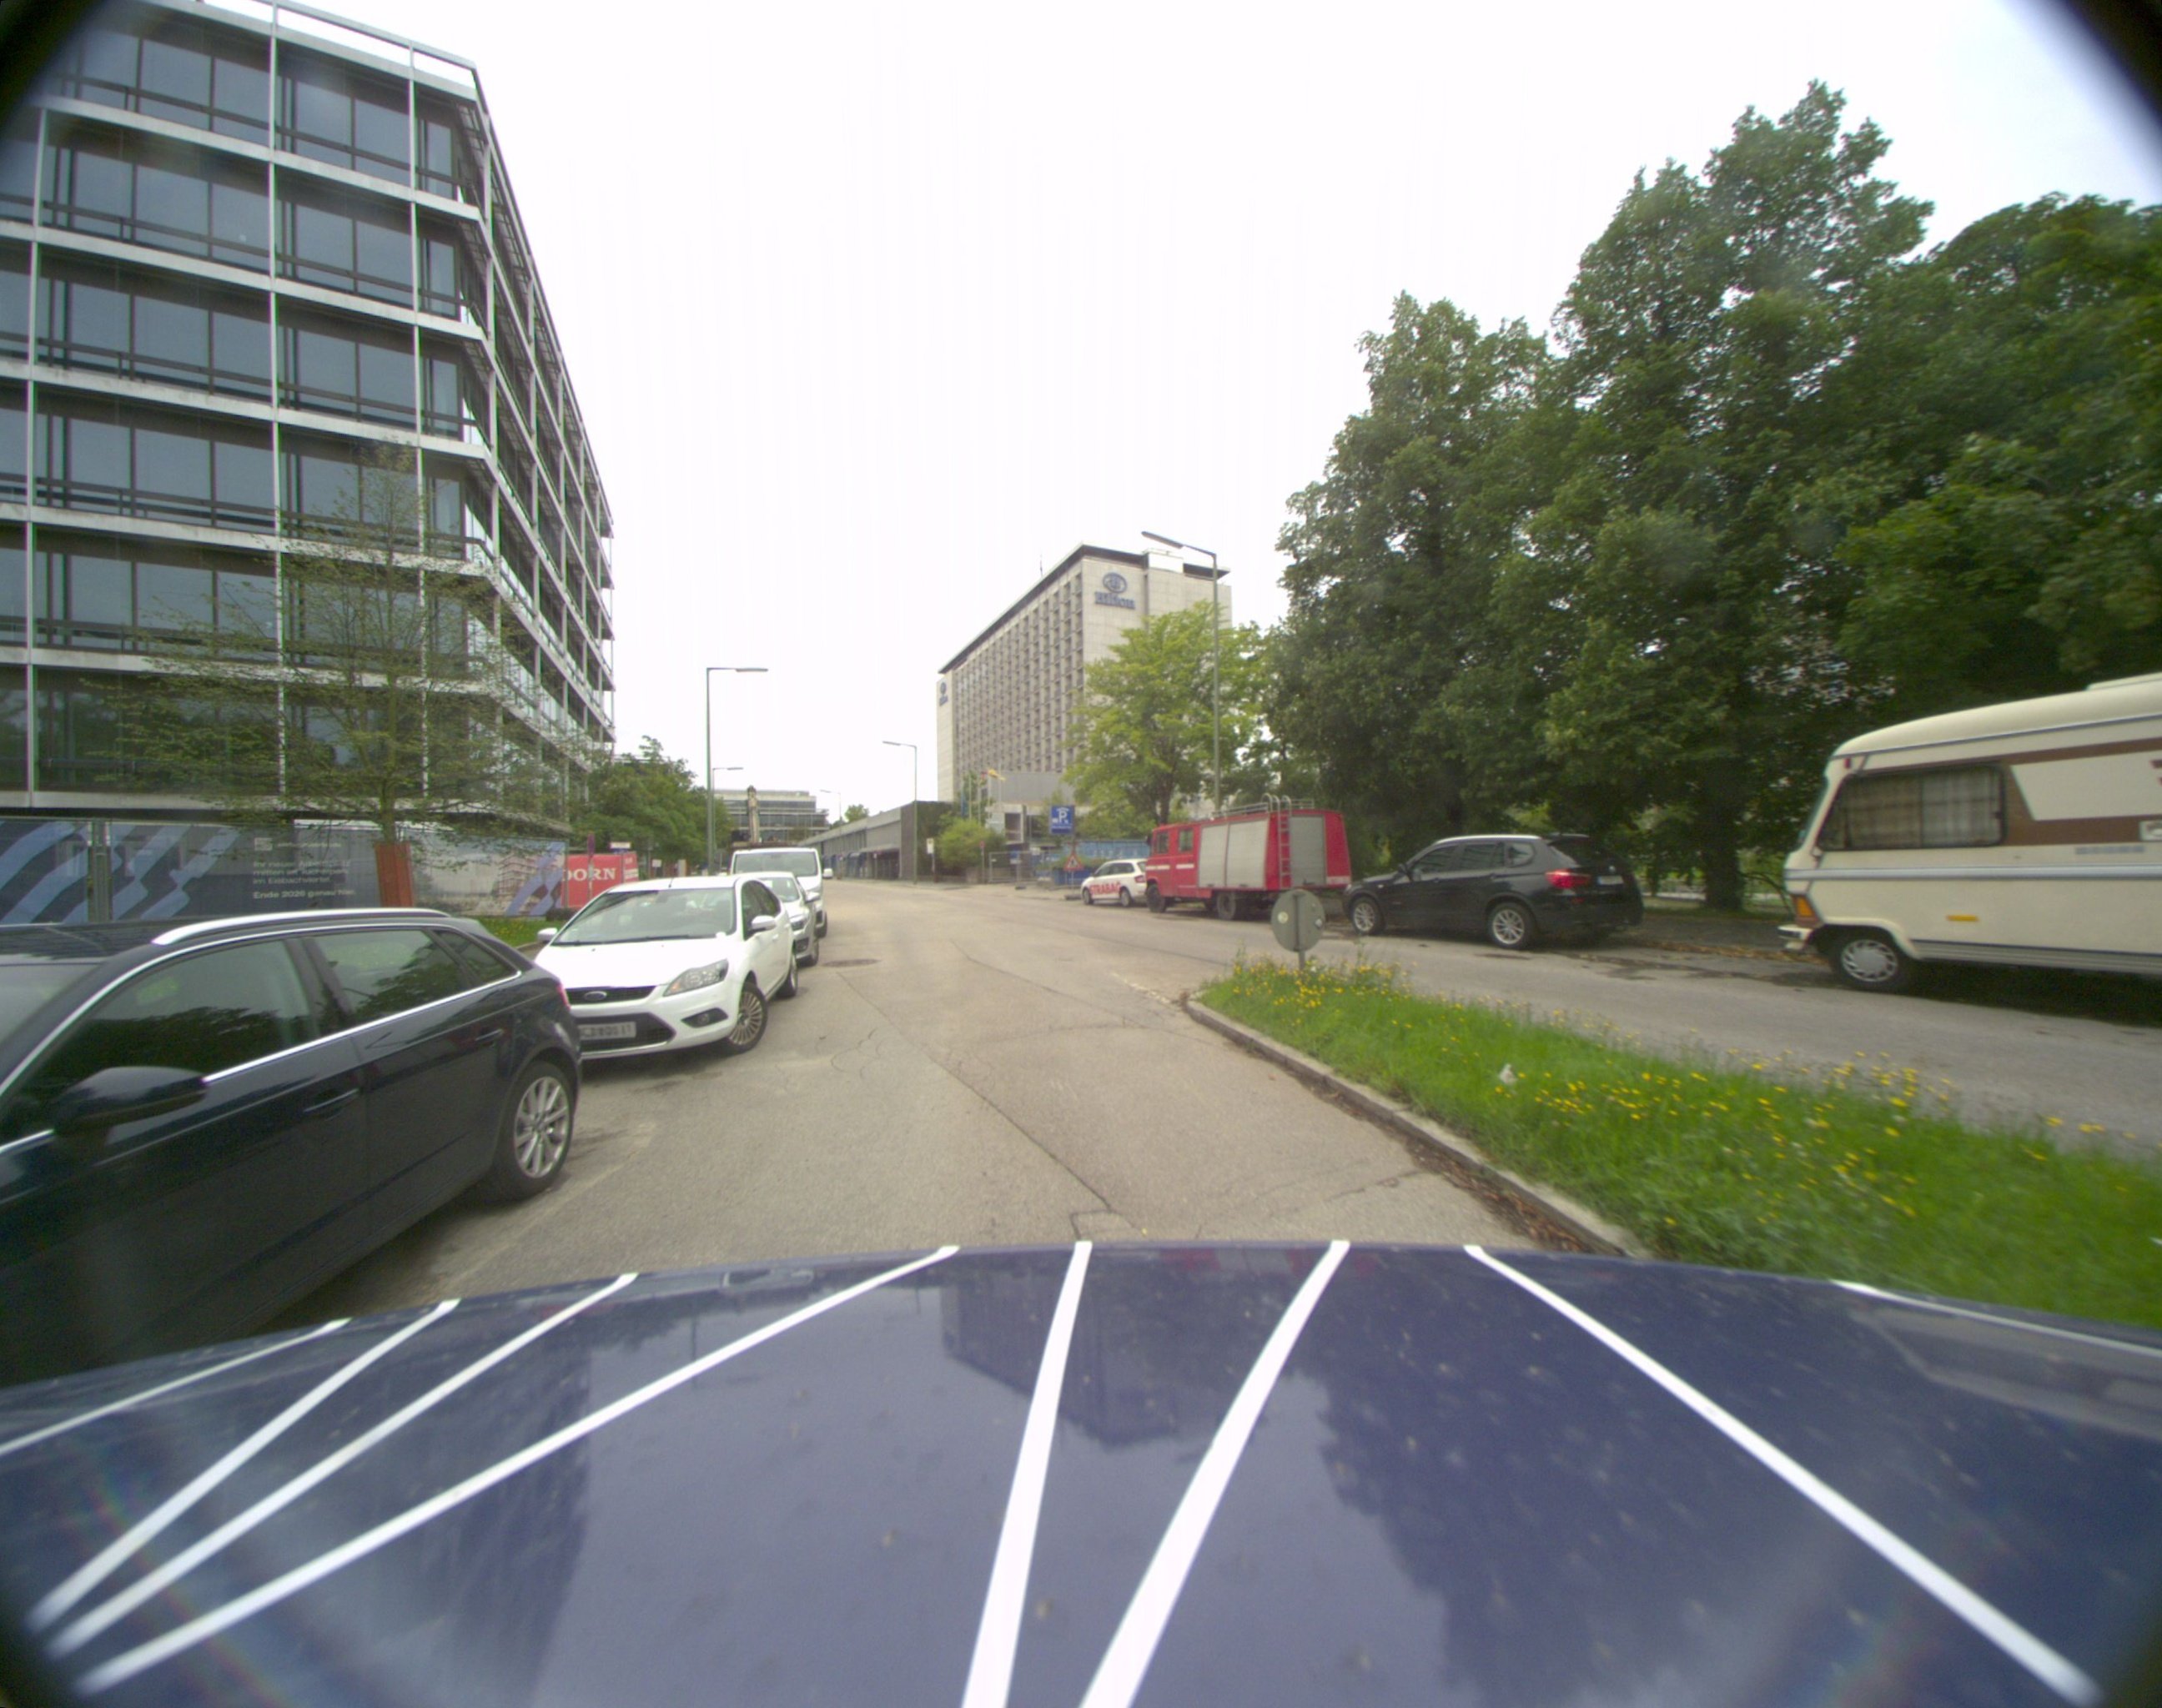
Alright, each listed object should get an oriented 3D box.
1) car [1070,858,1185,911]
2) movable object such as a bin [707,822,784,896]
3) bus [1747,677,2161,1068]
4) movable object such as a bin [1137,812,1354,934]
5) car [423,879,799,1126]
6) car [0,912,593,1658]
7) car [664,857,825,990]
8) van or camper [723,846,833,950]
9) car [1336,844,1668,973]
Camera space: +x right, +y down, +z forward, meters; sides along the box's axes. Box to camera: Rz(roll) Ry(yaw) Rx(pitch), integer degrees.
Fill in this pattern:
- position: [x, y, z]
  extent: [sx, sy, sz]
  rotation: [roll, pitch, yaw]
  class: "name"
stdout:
- position: [1.405, 0.899, 24.676]
  extent: [1.784, 1.540, 4.247]
  rotation: [-1, 0, -27]
  class: "car"
- position: [-19.210, 0.225, 43.148]
  extent: [3.256, 3.695, 8.986]
  rotation: [-1, 1, -28]
  class: "movable object such as a bin"
- position: [8.614, 0.119, 5.232]
  extent: [2.324, 2.683, 5.726]
  rotation: [-1, 0, -15]
  class: "bus"
- position: [3.660, 0.392, 18.566]
  extent: [2.113, 2.444, 6.175]
  rotation: [-1, 0, -21]
  class: "movable object such as a bin"
- position: [-3.952, 1.064, 7.298]
  extent: [1.773, 1.477, 4.216]
  rotation: [-1, 0, -13]
  class: "car"
- position: [-3.330, 1.021, 1.959]
  extent: [1.878, 1.428, 4.325]
  rotation: [0, 0, -9]
  class: "car"
- position: [-5.293, 0.931, 12.530]
  extent: [2.002, 1.718, 4.442]
  rotation: [-1, 1, -19]
  class: "car"
- position: [-6.897, 0.846, 17.575]
  extent: [2.002, 2.002, 5.367]
  rotation: [-1, 1, -20]
  class: "van or camper"
- position: [6.333, 0.704, 12.093]
  extent: [1.784, 1.640, 4.451]
  rotation: [-1, 0, -23]
  class: "car"
